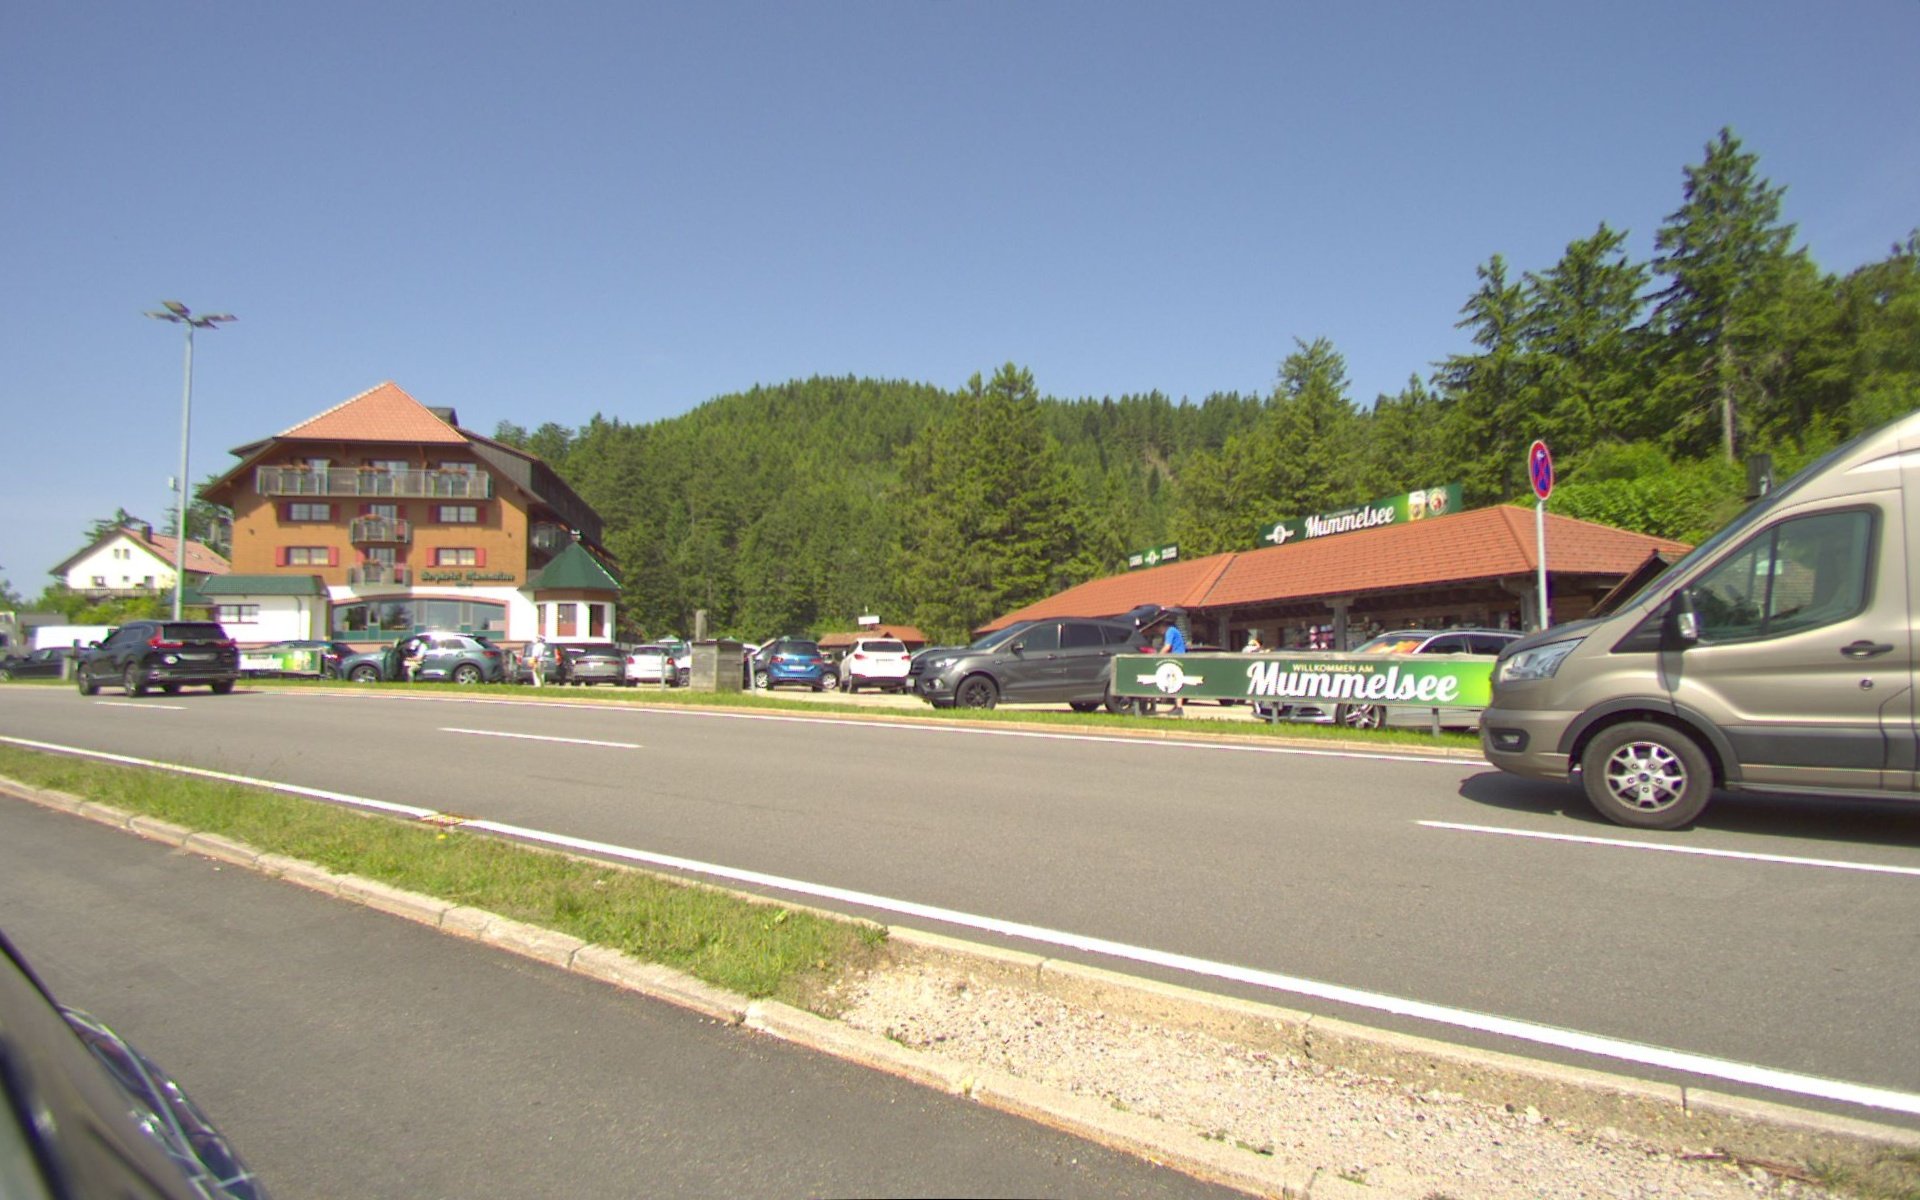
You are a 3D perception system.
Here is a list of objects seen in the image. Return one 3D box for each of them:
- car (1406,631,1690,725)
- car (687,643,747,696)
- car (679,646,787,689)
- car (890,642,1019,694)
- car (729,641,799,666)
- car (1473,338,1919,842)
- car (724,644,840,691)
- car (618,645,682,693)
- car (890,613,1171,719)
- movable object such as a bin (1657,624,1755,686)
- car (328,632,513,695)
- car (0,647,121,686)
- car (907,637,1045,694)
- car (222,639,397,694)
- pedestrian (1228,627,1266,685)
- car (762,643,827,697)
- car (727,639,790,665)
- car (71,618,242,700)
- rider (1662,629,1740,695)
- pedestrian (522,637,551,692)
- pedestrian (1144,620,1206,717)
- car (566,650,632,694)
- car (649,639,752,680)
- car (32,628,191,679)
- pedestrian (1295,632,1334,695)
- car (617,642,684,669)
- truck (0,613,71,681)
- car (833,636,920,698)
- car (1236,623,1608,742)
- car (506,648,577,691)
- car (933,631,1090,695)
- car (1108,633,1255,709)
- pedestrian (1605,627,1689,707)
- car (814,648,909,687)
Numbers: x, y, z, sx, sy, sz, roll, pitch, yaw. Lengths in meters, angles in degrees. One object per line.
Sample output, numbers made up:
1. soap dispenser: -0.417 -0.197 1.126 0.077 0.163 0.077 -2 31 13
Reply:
1. car: 10.059 1.294 17.476 3.997 1.441 1.699 -2 -4 40
2. car: -8.015 2.252 33.520 1.794 1.641 4.105 1 -3 -13
3. car: -8.887 2.624 39.533 4.025 1.641 1.829 1 -3 -15
4. car: -0.200 2.329 34.839 4.024 1.729 1.926 1 -3 -17
5. car: -13.966 3.815 72.062 4.764 1.729 1.925 1 -3 -14
6. car: 6.466 -0.048 5.917 5.906 2.772 1.993 -2 -3 37
7. car: -6.587 2.483 37.413 4.025 1.641 1.829 1 -3 -15
8. car: -10.596 2.345 34.863 1.794 1.524 4.105 1 -3 -13
9. car: 1.190 1.126 17.439 4.474 1.669 1.727 1 -3 -17
10. movable object such as a bin: 14.846 1.080 20.180 0.969 1.198 1.218 0 -2 -5
11. car: -14.793 1.755 28.004 4.199 1.641 1.829 1 -3 -15
12. car: -37.637 2.732 41.898 4.024 1.539 1.830 1 -3 -19
13. car: 0.493 2.080 32.336 4.026 1.729 1.925 1 -3 -14
14. car: -20.135 2.066 31.535 4.199 1.641 1.829 1 -3 -15
15. pedestrian: 10.207 1.975 35.982 0.948 2.029 0.859 1 -2 -21
16. car: -5.416 2.224 32.826 1.794 1.641 4.105 1 -3 -13
17. car: -13.525 3.514 67.970 4.026 1.729 1.925 1 -3 -14
18. car: -18.036 1.285 22.687 4.116 1.695 1.703 -2 -3 32
19. rider: 14.813 1.221 20.250 0.826 1.284 0.910 0 -2 -5
20. pedestrian: -12.869 1.941 30.756 0.733 1.637 0.685 1 -3 -28
21. pedestrian: 3.782 1.192 17.841 0.733 1.648 0.849 1 -3 -18
22. car: -13.180 2.605 37.129 1.794 1.524 4.105 1 -3 -13
23. car: -10.752 2.480 41.965 4.025 1.641 1.829 1 -3 -15
24. car: -49.240 3.091 58.962 6.855 2.812 2.671 2 -3 -40
25. pedestrian: 11.683 2.079 33.350 0.911 2.029 0.725 1 -2 -22
26. car: -19.973 3.587 65.389 4.026 1.729 1.925 1 -3 -14
27. truck: -56.970 2.872 60.458 2.834 3.850 9.045 -1 -2 -21
28. car: -2.587 1.977 30.303 1.888 1.729 4.106 1 -3 -15
29. car: 6.169 1.084 13.650 4.427 1.441 1.726 1 -3 -14
30. car: -15.735 2.599 38.264 1.794 1.524 4.105 1 -3 -13
31. car: 1.412 1.779 28.631 4.026 1.729 1.925 1 -3 -14
32. car: 5.392 1.724 25.233 1.888 1.729 4.106 1 -3 -15
33. pedestrian: 15.163 1.469 22.356 0.962 1.711 1.166 2 -3 -29
34. car: -4.559 3.100 46.765 4.024 1.729 1.926 1 -3 -17
